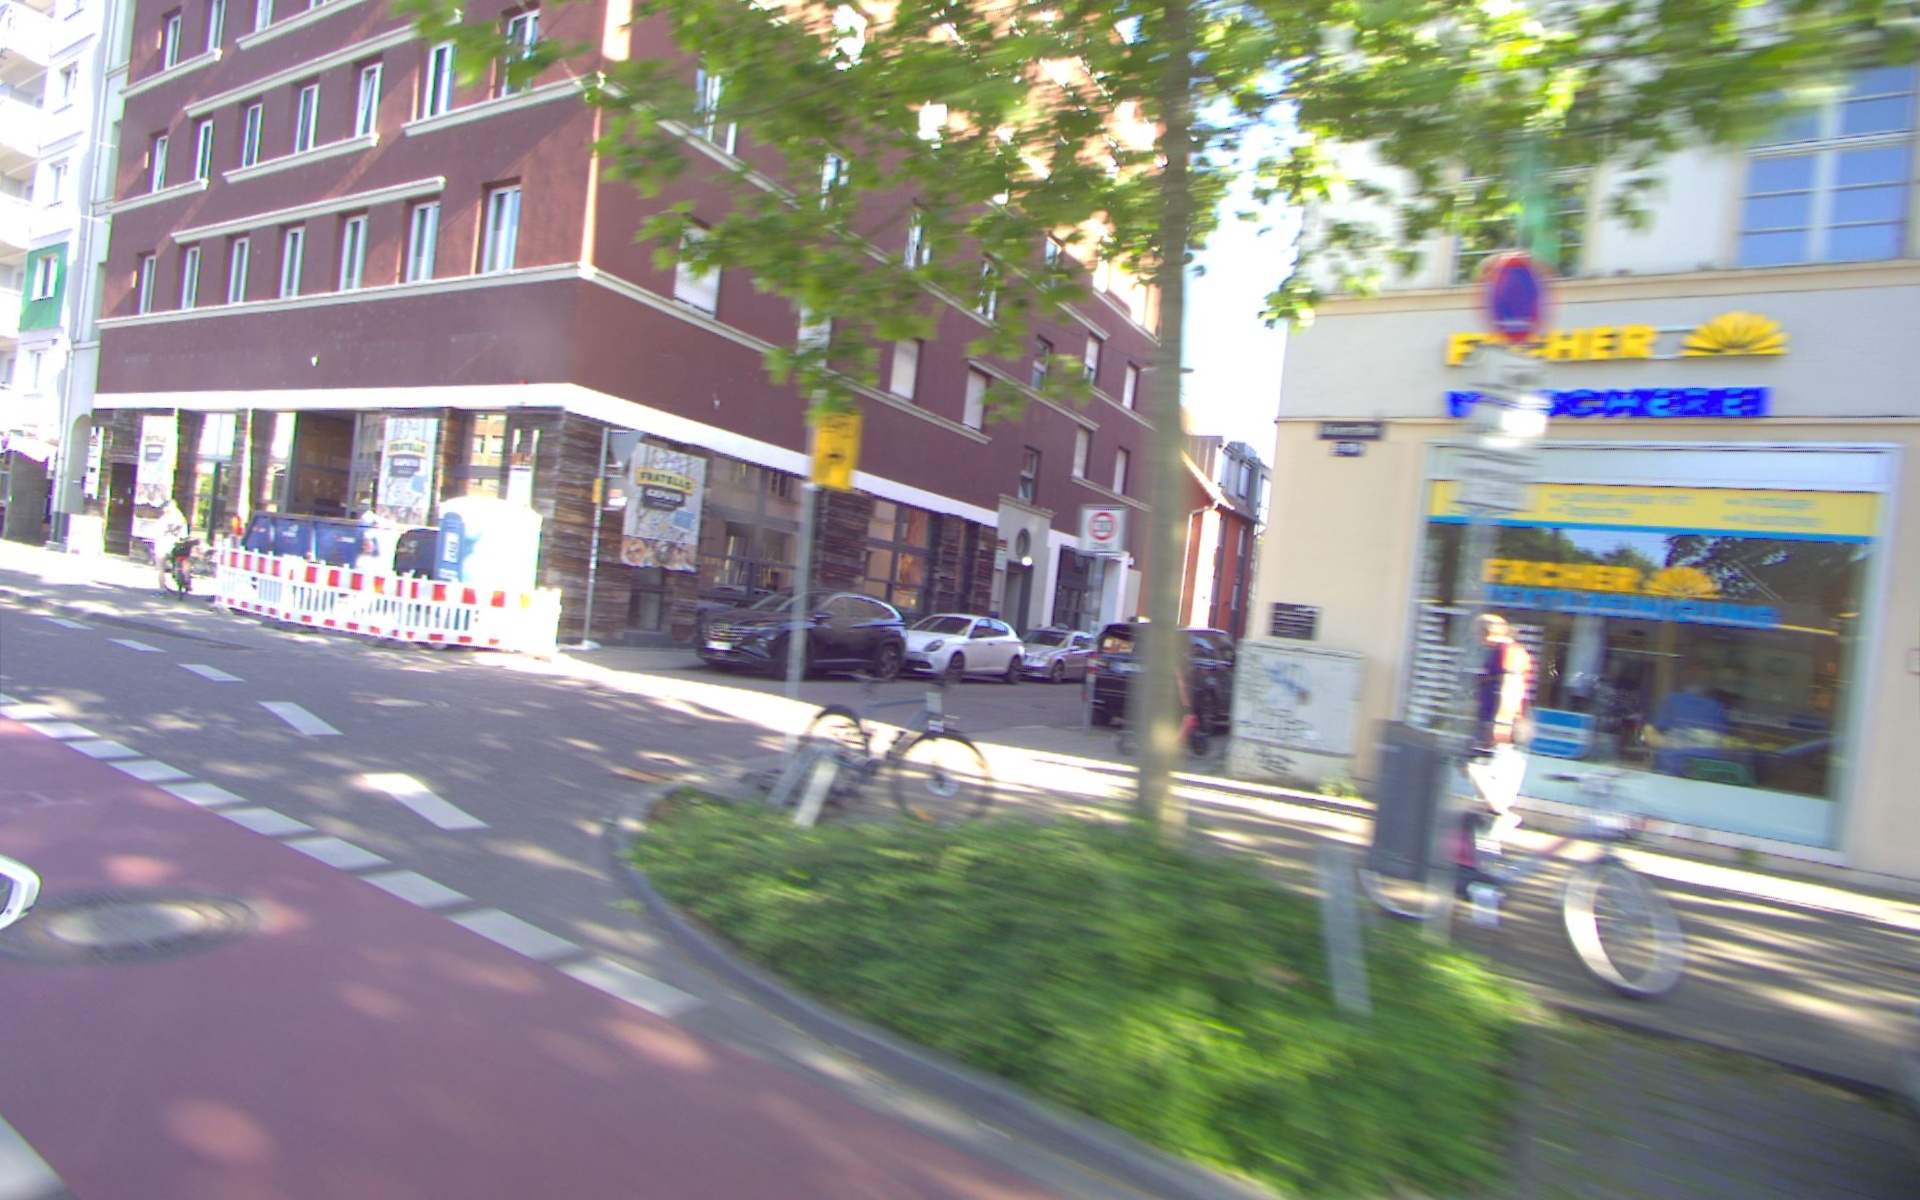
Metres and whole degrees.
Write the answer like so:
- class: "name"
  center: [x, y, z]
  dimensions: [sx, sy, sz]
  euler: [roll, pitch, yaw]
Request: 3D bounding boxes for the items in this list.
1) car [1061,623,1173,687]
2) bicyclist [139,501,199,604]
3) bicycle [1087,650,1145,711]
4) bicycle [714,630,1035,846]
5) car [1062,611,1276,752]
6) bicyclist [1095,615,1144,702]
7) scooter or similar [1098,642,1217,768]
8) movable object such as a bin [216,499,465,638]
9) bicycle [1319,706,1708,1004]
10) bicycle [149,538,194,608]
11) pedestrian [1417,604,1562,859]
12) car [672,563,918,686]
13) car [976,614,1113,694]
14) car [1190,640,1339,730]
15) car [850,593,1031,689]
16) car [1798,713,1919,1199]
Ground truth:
- class: "car"
  center: [4.932, 1.742, 31.161]
  dimensions: [1.967, 1.592, 3.994]
  euler: [6, -2, 31]
- class: "bicyclist"
  center: [-13.827, -0.834, 17.580]
  dimensions: [0.589, 1.711, 0.600]
  euler: [7, 1, 42]
- class: "bicycle"
  center: [3.224, 1.668, 20.644]
  dimensions: [0.415, 1.150, 1.828]
  euler: [7, -1, 30]
- class: "bicycle"
  center: [-0.650, 0.944, 7.317]
  dimensions: [2.197, 1.176, 0.582]
  euler: [6, -2, 24]
- class: "car"
  center: [3.634, 1.368, 16.769]
  dimensions: [1.967, 1.837, 4.532]
  euler: [6, -2, 31]
- class: "bicyclist"
  center: [3.267, 1.208, 20.623]
  dimensions: [0.607, 1.686, 0.666]
  euler: [7, 0, 30]
- class: "scooter or similar"
  center: [2.309, 1.220, 11.803]
  dimensions: [1.184, 1.300, 0.382]
  euler: [7, -1, 1]
- class: "movable object such as a bin"
  center: [-10.554, -0.530, 17.159]
  dimensions: [3.418, 1.866, 1.950]
  euler: [7, 0, 26]
- class: "bicycle"
  center: [2.903, 1.265, 5.390]
  dimensions: [1.665, 1.149, 0.487]
  euler: [6, -1, 37]
- class: "bicycle"
  center: [-13.818, -0.488, 17.621]
  dimensions: [1.662, 1.099, 0.317]
  euler: [6, 0, 44]
- class: "pedestrian"
  center: [4.403, 1.051, 8.364]
  dimensions: [0.849, 1.924, 0.714]
  euler: [6, 1, 31]
- class: "car"
  center: [-2.819, 0.524, 18.171]
  dimensions: [1.962, 1.809, 4.307]
  euler: [5, -2, 31]
- class: "car"
  center: [2.350, 1.490, 26.929]
  dimensions: [1.967, 1.669, 3.996]
  euler: [6, -3, 31]
- class: "car"
  center: [6.676, 1.880, 21.757]
  dimensions: [1.968, 1.547, 3.994]
  euler: [6, -3, 33]
- class: "car"
  center: [-0.309, 0.967, 22.178]
  dimensions: [1.967, 1.678, 4.119]
  euler: [6, -1, 31]
- class: "car"
  center: [4.873, 1.365, 2.137]
  dimensions: [4.360, 1.574, 1.793]
  euler: [6, -1, 30]
